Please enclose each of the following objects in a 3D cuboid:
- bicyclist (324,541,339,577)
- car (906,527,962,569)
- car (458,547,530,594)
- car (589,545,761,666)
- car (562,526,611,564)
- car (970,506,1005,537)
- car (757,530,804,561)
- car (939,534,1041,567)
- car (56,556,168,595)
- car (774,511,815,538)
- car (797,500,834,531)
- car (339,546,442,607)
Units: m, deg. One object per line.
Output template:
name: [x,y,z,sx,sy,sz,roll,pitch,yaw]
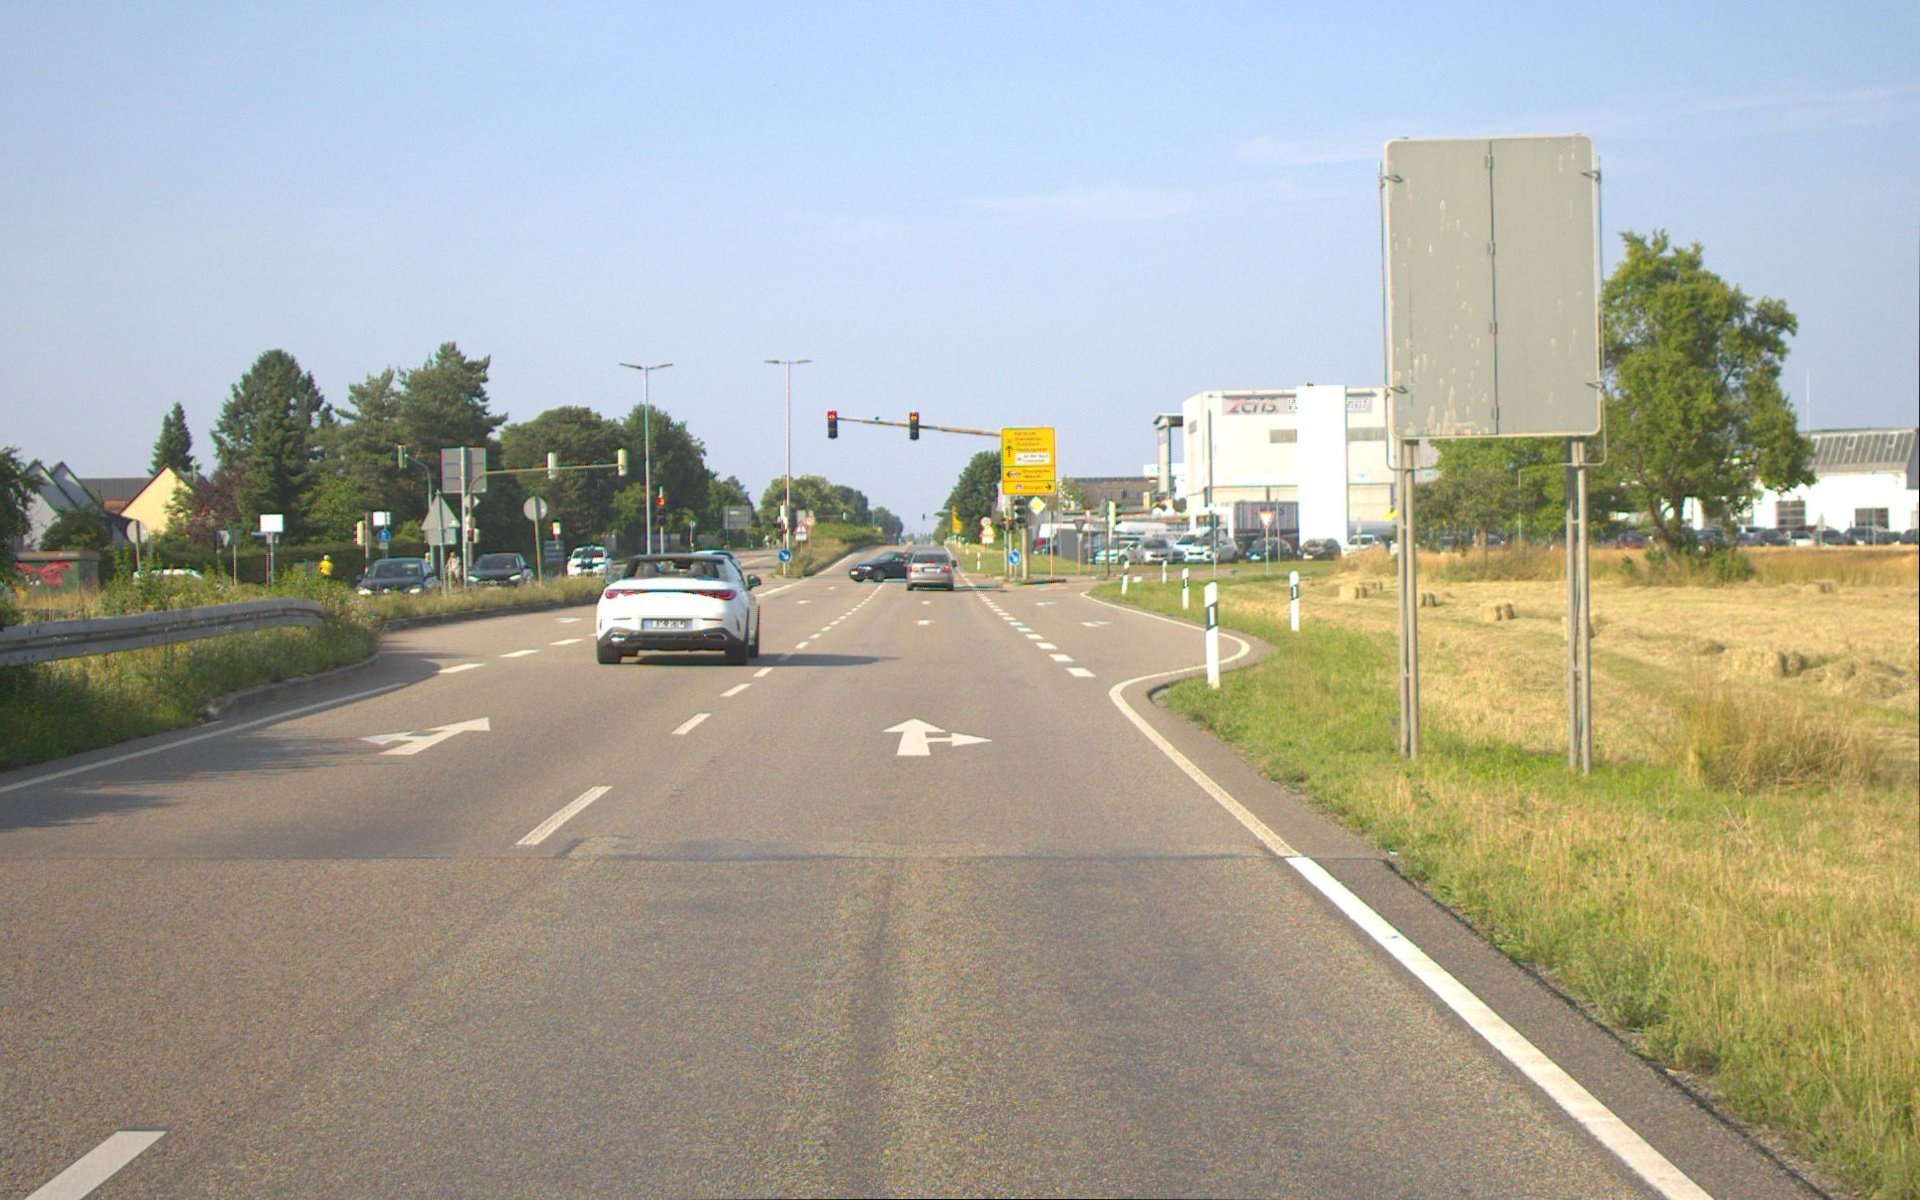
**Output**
bicyclist: [-23.823,-1.557,130.295,0.455,1.347,0.552,-1,1,-3]
car: [-0.978,-1.929,125.776,1.993,1.481,4.000,0,1,-1]
car: [-14.802,-0.955,109.286,1.729,1.403,4.000,1,1,0]
car: [-3.542,0.036,43.361,1.909,1.417,4.000,0,1,-1]
car: [-18.203,-2.678,167.644,1.947,1.794,4.000,1,1,0]
car: [1.608,-4.545,199.621,1.993,1.751,4.000,1,1,1]
car: [-8.351,-2.534,160.471,1.947,1.403,4.000,1,1,0]
car: [1.286,-2.169,149.523,3.986,1.403,1.955,0,1,-20]
car: [-34.049,-0.978,138.161,4.182,1.517,2.001,0,1,-8]
car: [-8.913,-4.077,185.352,1.947,1.403,4.000,1,1,0]
car: [-8.389,-4.895,199.542,1.947,1.766,4.000,1,1,0]
car: [-14.553,-0.620,88.025,1.993,1.481,4.227,0,1,-1]
